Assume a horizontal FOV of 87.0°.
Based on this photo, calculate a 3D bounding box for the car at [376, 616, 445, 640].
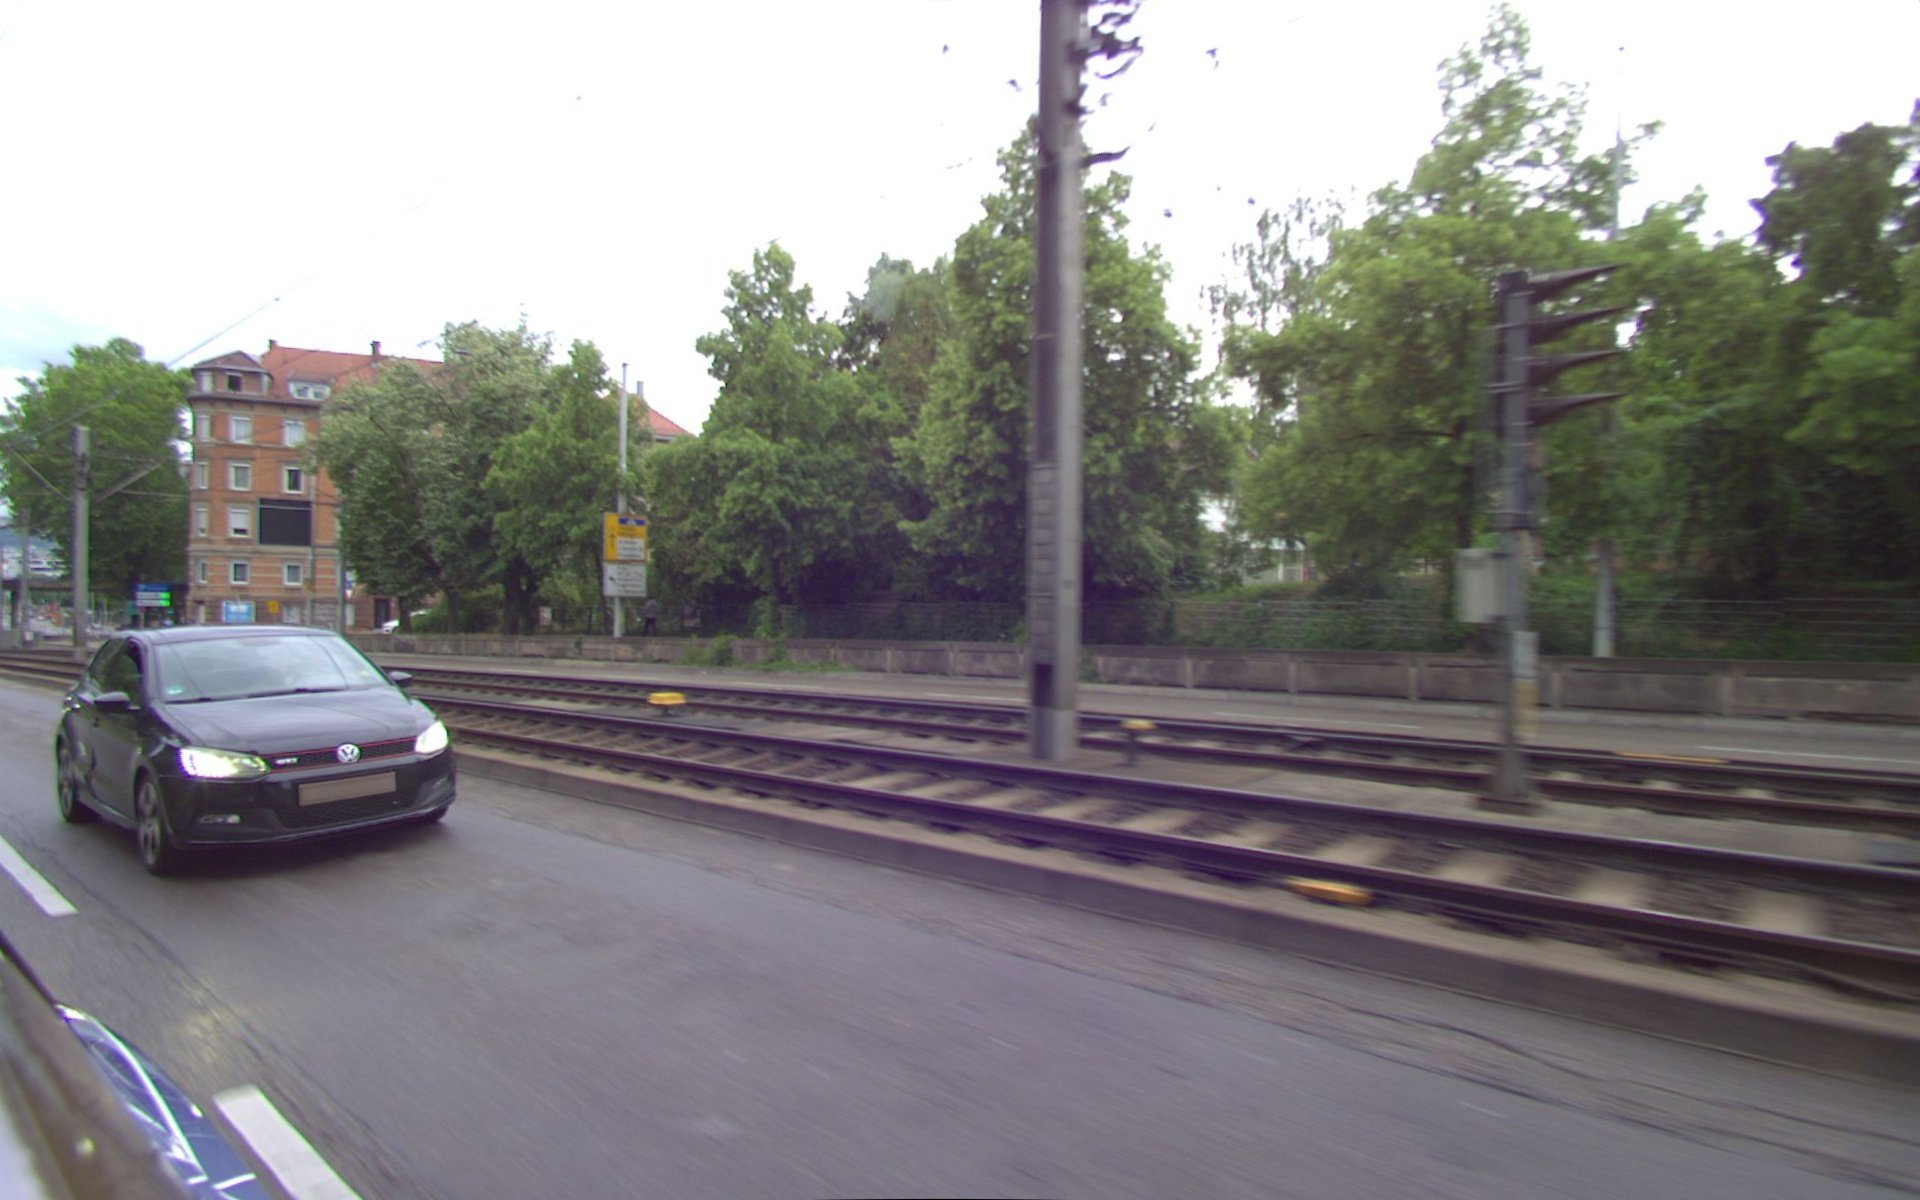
[{"bbox_3d":[-39.867,1.995,73.436,4.362,1.610,1.847,-1,-1,-30],"label":"car"}]

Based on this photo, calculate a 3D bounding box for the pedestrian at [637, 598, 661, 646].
[{"bbox_3d":[-12.544,0.880,40.812,0.653,1.917,0.590,-1,0,38],"label":"pedestrian"}]

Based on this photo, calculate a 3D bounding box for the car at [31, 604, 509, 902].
[{"bbox_3d":[-4.961,0.823,7.075,3.961,1.497,1.775,-2,-2,40],"label":"car"}]
